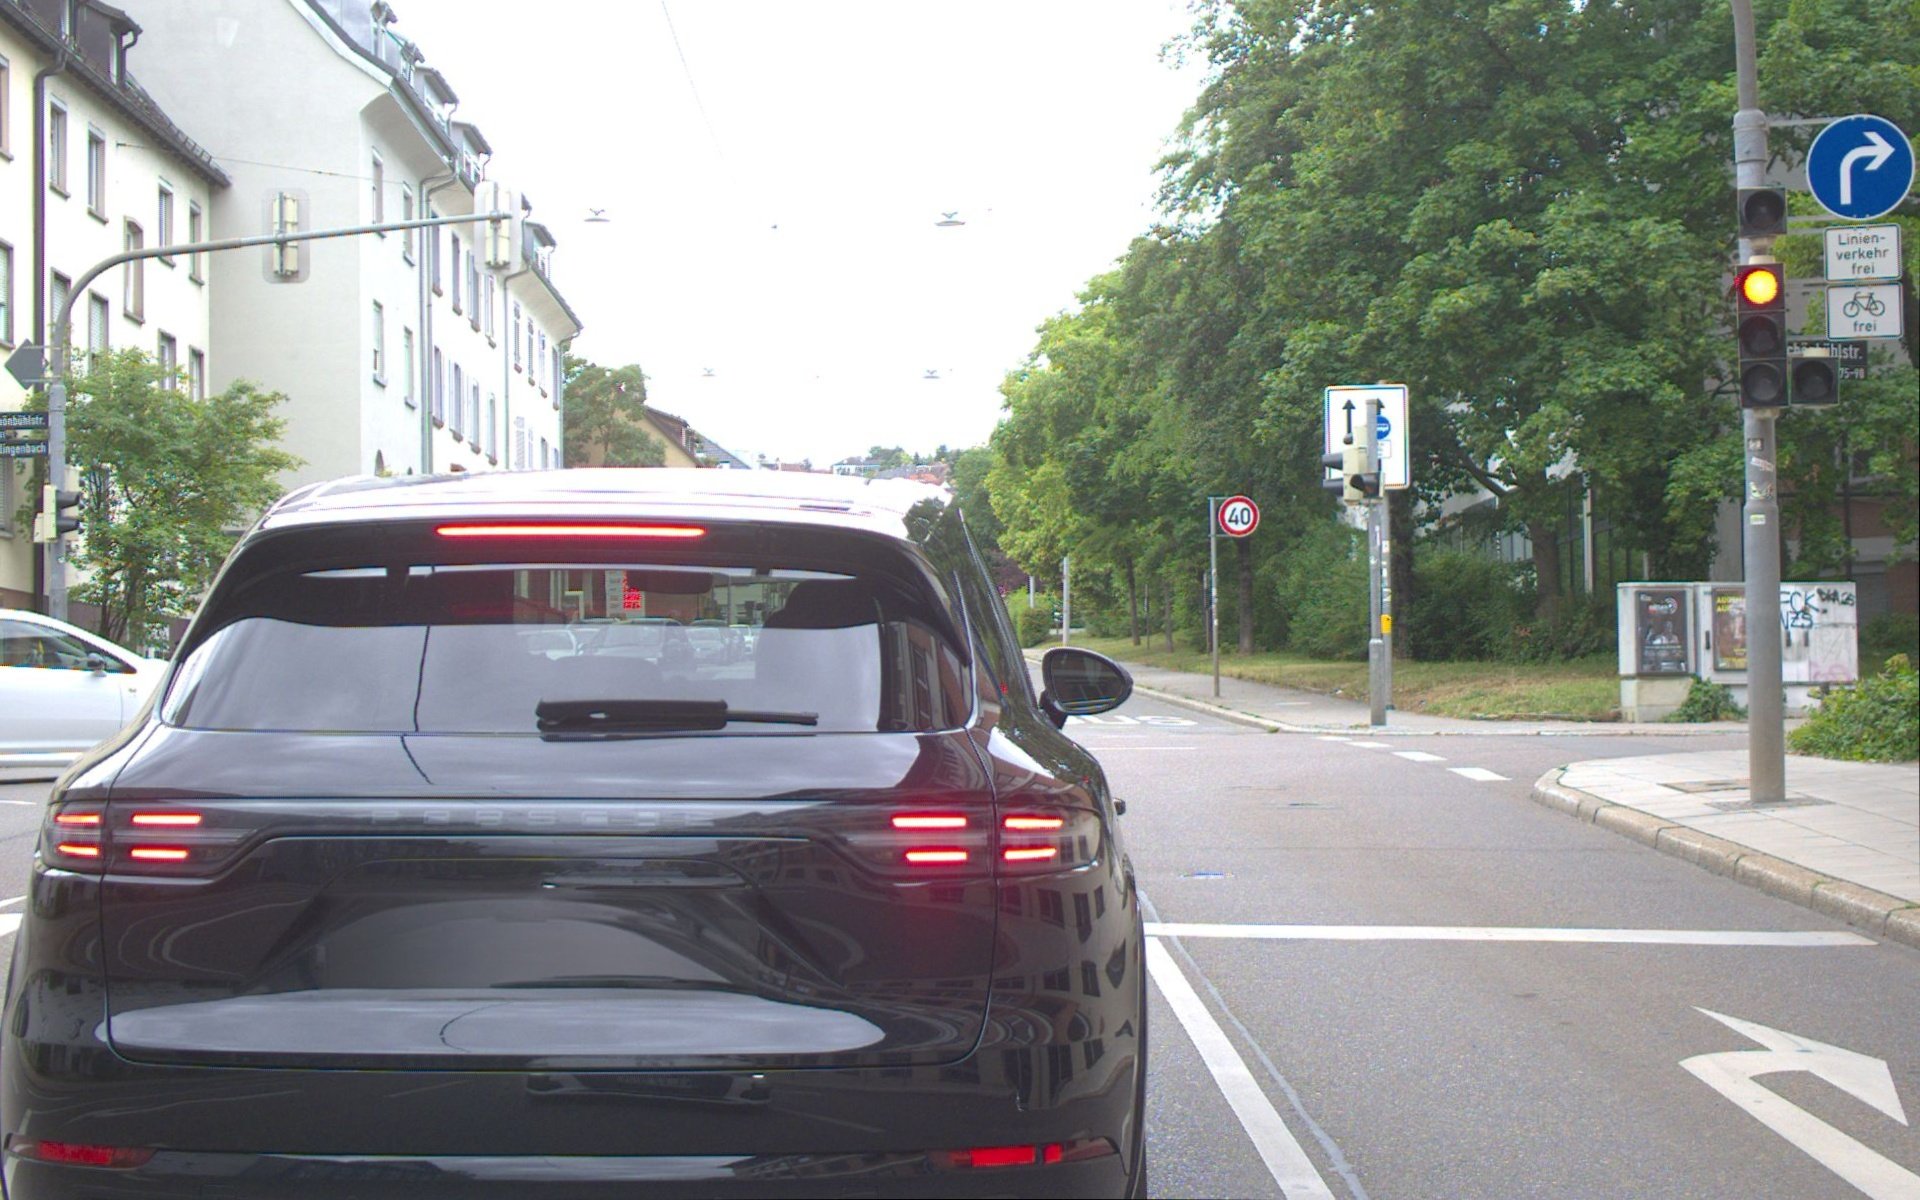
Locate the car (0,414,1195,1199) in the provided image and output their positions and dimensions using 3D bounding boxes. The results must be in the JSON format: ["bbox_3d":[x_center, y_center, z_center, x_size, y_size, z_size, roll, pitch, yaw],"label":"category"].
[{"bbox_3d":[-0.678,0.558,7.158,1.993,1.691,4.000,1,1,-1],"label":"car"}]

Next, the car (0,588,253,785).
[{"bbox_3d":[-7.923,0.682,28.080,3.875,1.547,1.694,1,1,-27],"label":"car"}]
